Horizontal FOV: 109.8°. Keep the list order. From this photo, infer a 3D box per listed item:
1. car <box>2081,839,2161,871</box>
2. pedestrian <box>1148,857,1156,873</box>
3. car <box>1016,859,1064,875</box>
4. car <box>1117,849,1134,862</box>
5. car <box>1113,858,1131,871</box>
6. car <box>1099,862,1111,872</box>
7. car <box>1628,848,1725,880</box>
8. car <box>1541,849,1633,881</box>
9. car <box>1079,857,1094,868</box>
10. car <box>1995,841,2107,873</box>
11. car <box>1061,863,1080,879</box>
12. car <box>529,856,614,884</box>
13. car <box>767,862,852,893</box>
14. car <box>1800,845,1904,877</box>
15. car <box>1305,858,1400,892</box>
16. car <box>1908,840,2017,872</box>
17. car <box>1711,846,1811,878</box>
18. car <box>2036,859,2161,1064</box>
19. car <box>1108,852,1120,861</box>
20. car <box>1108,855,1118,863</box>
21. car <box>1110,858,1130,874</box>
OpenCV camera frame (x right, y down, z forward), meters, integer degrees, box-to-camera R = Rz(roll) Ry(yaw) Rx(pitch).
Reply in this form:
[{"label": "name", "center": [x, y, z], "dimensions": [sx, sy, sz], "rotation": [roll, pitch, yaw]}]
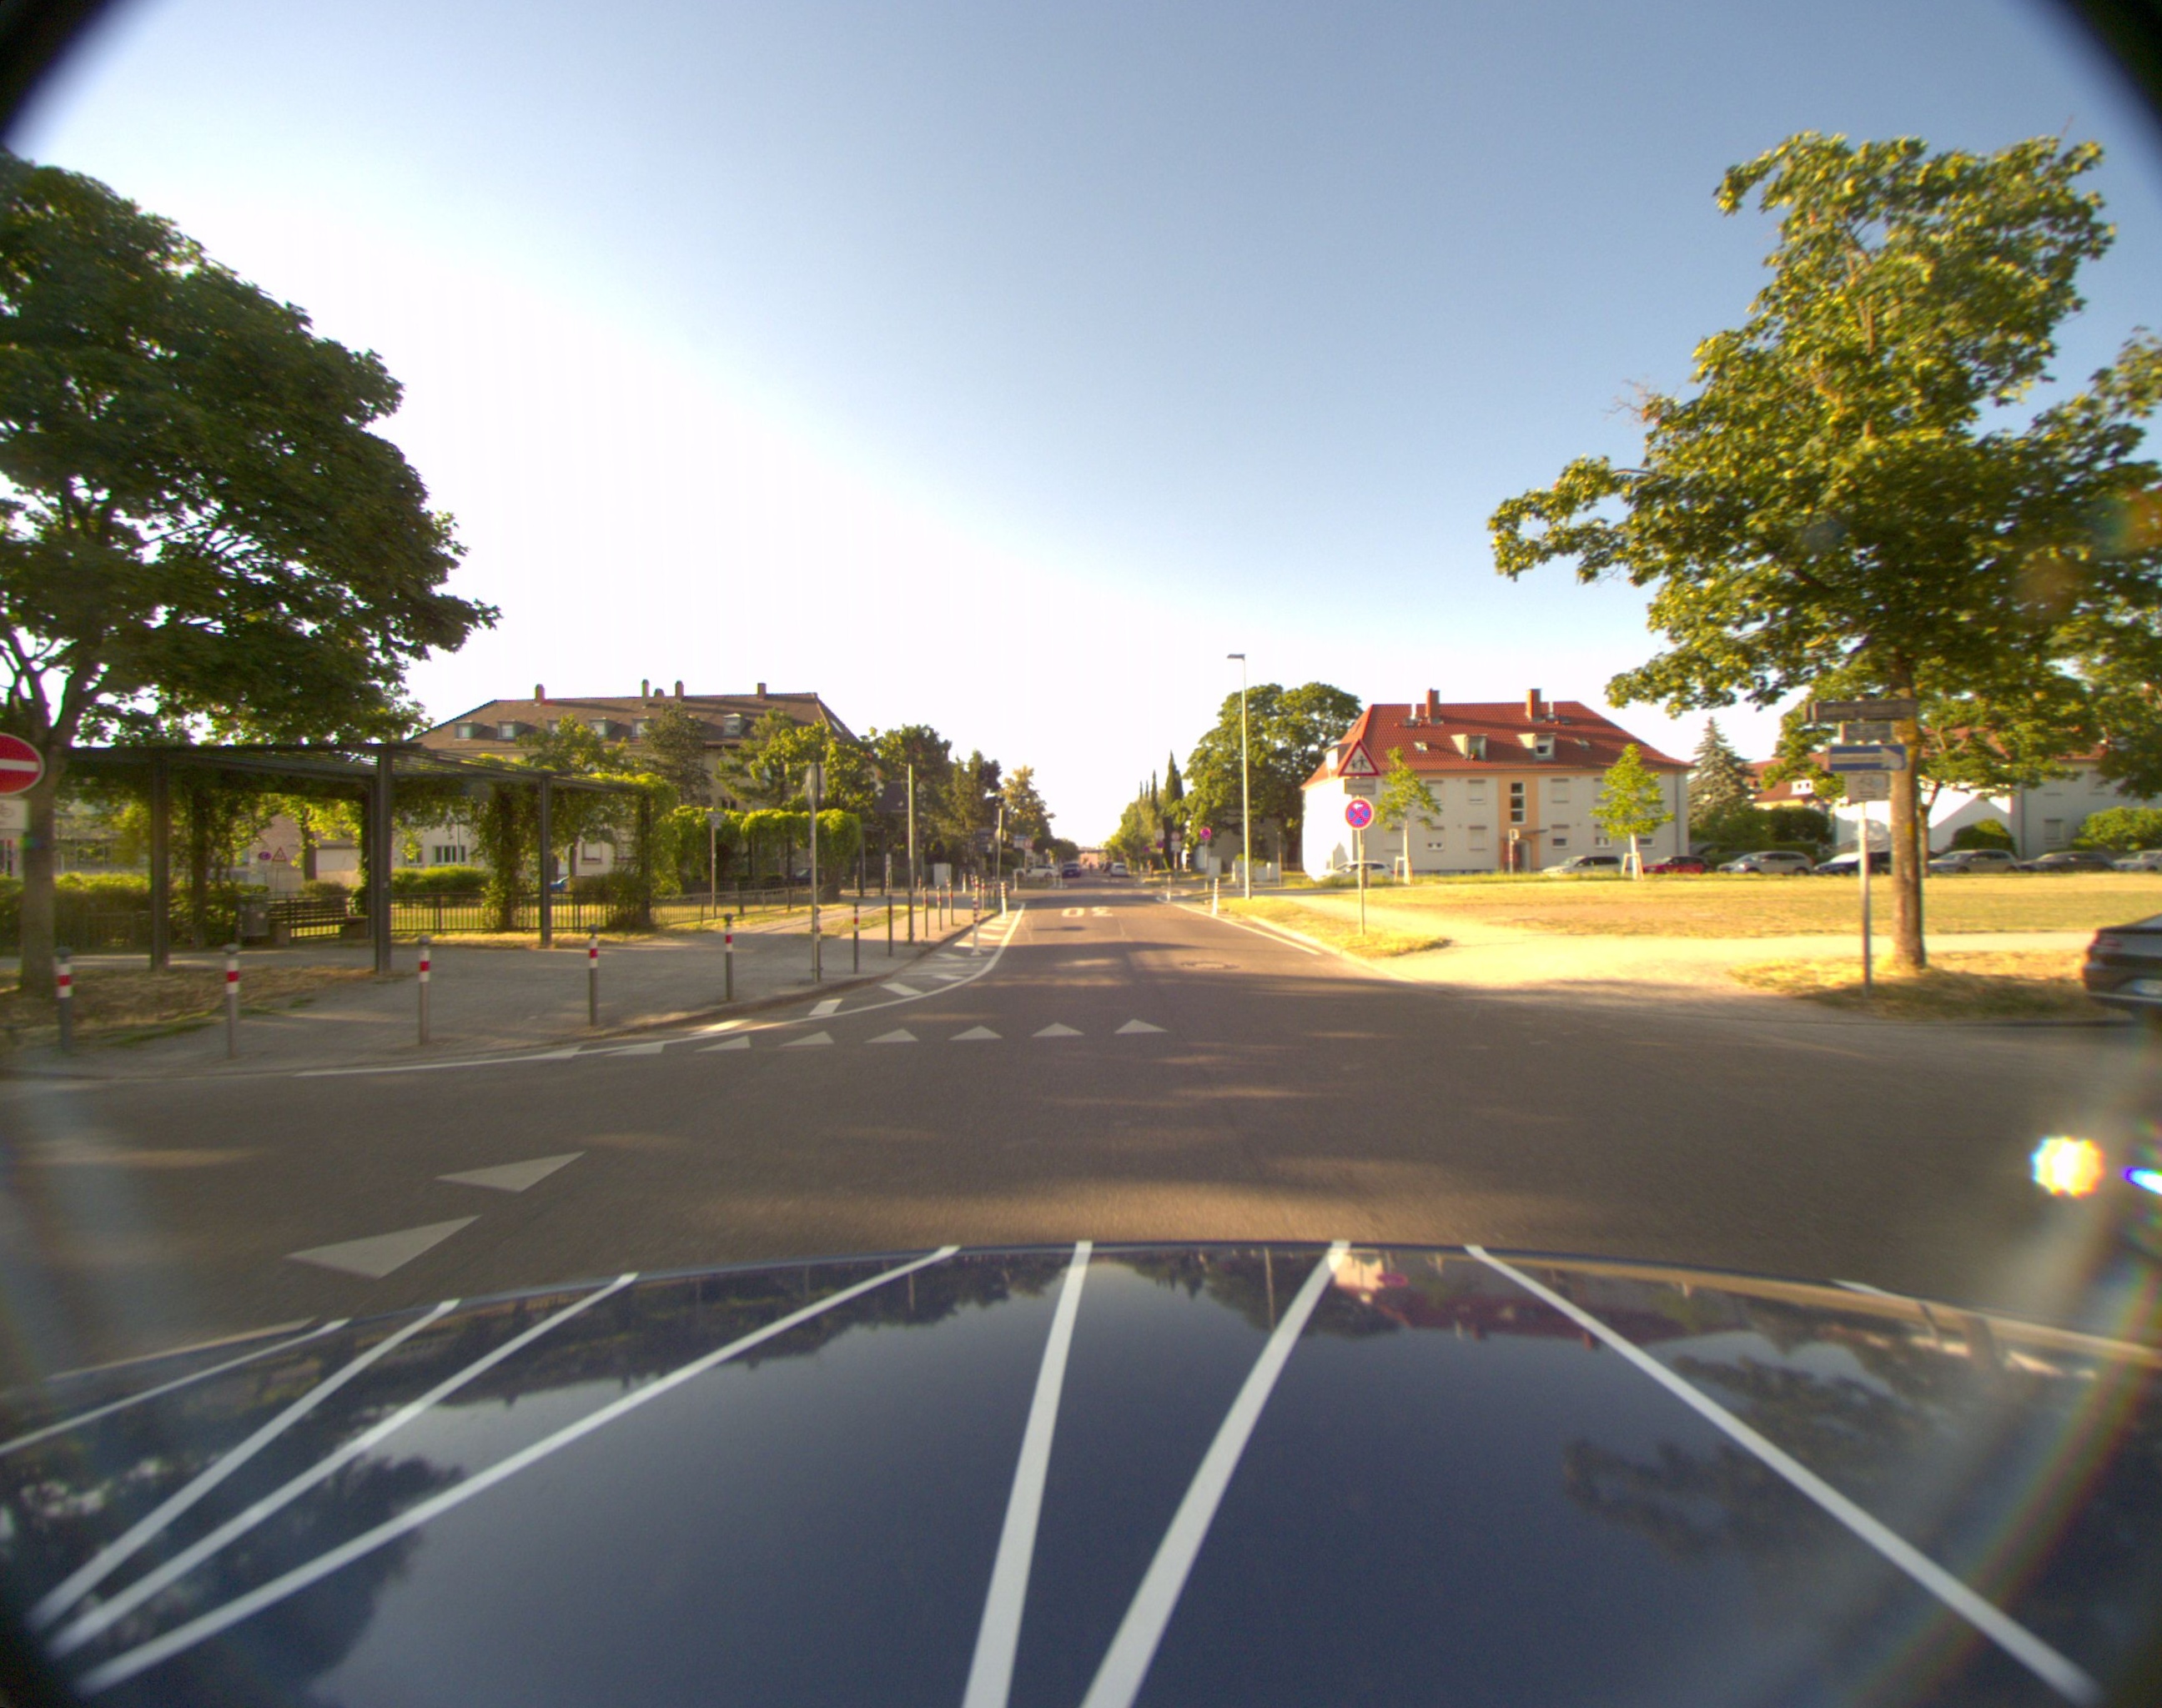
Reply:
[{"label": "car", "center": [60.024, 0.069, 43.164], "dimensions": [3.997, 1.685, 1.851], "rotation": [-1, -2, -1]}, {"label": "pedestrian", "center": [9.359, 1.456, 99.943], "dimensions": [0.898, 2.002, 0.693], "rotation": [-1, 0, 1]}, {"label": "car", "center": [-4.183, 1.353, 78.726], "dimensions": [4.835, 1.604, 1.971], "rotation": [-1, 0, -1]}, {"label": "car", "center": [5.743, 0.182, 97.903], "dimensions": [1.970, 1.604, 4.247], "rotation": [-1, 0, 0]}, {"label": "car", "center": [4.960, 1.270, 92.671], "dimensions": [1.970, 1.604, 4.247], "rotation": [-1, 0, 0]}, {"label": "car", "center": [4.063, 2.169, 129.211], "dimensions": [1.970, 1.604, 4.247], "rotation": [-1, 0, 0]}, {"label": "car", "center": [33.876, 0.598, 43.293], "dimensions": [3.997, 1.685, 1.851], "rotation": [-1, -2, -1]}, {"label": "car", "center": [28.727, 0.664, 43.211], "dimensions": [3.997, 1.685, 1.851], "rotation": [-1, -2, -1]}, {"label": "car", "center": [0.823, 1.268, 114.434], "dimensions": [1.971, 1.604, 4.246], "rotation": [-1, 0, -3]}, {"label": "car", "center": [54.950, 0.199, 43.088], "dimensions": [3.997, 1.685, 1.851], "rotation": [-1, -2, -1]}, {"label": "car", "center": [-1.173, 1.851, 82.431], "dimensions": [1.971, 1.604, 4.246], "rotation": [-1, 0, -3]}, {"label": "car", "center": [-29.601, 0.917, 44.226], "dimensions": [3.757, 1.509, 1.735], "rotation": [-1, 0, 0]}, {"label": "car", "center": [-15.581, 1.375, 43.736], "dimensions": [4.213, 1.631, 1.823], "rotation": [-1, -3, -1]}, {"label": "car", "center": [43.887, 0.397, 43.307], "dimensions": [3.997, 1.685, 1.851], "rotation": [-1, -2, -1]}, {"label": "car", "center": [14.240, 1.101, 40.024], "dimensions": [4.298, 1.685, 1.871], "rotation": [-1, -2, -1]}, {"label": "car", "center": [49.855, 0.144, 43.029], "dimensions": [3.997, 1.685, 1.851], "rotation": [-1, -2, -1]}, {"label": "car", "center": [38.537, 0.498, 43.143], "dimensions": [3.997, 1.685, 1.851], "rotation": [-1, -2, -1]}, {"label": "car", "center": [11.302, 0.849, 6.125], "dimensions": [4.835, 1.659, 1.789], "rotation": [-1, 0, 1]}, {"label": "car", "center": [6.276, 0.429, 144.564], "dimensions": [1.970, 1.604, 4.247], "rotation": [-1, 0, -1]}, {"label": "car", "center": [6.710, 1.051, 160.388], "dimensions": [1.970, 1.604, 4.247], "rotation": [-1, 0, 0]}, {"label": "car", "center": [4.301, 1.317, 83.979], "dimensions": [1.970, 1.604, 4.247], "rotation": [-1, 0, 0]}]
